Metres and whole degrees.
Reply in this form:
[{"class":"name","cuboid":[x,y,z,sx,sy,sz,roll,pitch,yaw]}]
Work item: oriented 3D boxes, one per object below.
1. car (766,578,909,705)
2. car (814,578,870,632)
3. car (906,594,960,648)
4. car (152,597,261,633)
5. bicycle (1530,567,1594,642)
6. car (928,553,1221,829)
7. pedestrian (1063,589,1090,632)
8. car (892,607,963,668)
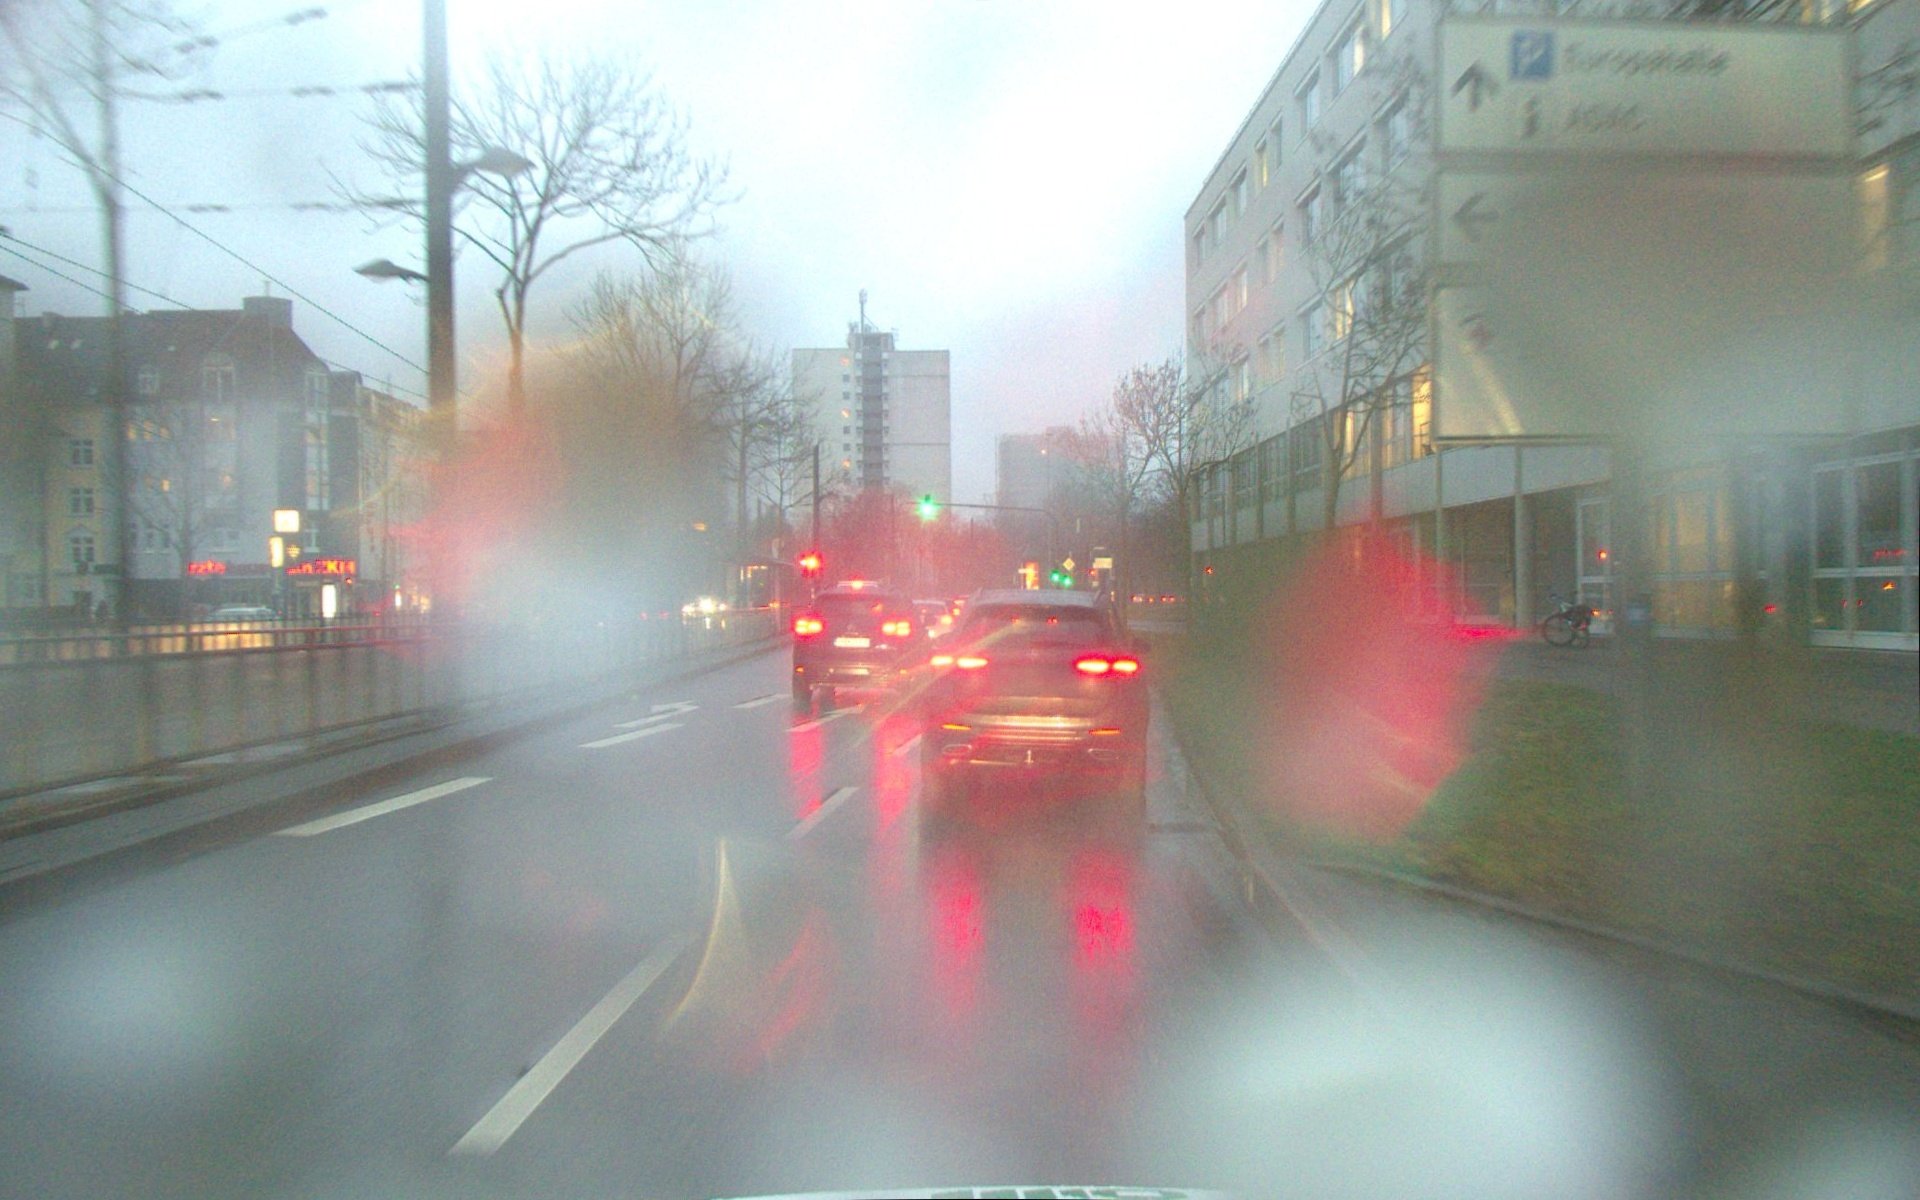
[{"class":"car","cuboid":[-1.800,0.613,25.200,1.954,1.742,4.322,1,-1,-3]},{"class":"car","cuboid":[-4.616,0.191,65.498,1.912,2.069,4.882,0,0,-1]},{"class":"car","cuboid":[-1.050,0.856,65.580,1.952,2.049,4.000,1,-1,1]},{"class":"car","cuboid":[-31.142,0.636,68.461,3.725,1.390,1.696,1,-1,-6]},{"class":"bicycle","cuboid":[11.253,0.066,30.972,0.805,1.295,2.460,-4,0,14]},{"class":"car","cuboid":[0.815,0.710,14.206,1.954,2.010,4.064,1,-1,-4]},{"class":"pedestrian","cuboid":[5.064,0.469,72.100,0.780,1.780,0.861,-5,0,26]},{"class":"car","cuboid":[-0.943,1.082,48.115,1.953,1.671,4.021,1,-1,-1]}]
